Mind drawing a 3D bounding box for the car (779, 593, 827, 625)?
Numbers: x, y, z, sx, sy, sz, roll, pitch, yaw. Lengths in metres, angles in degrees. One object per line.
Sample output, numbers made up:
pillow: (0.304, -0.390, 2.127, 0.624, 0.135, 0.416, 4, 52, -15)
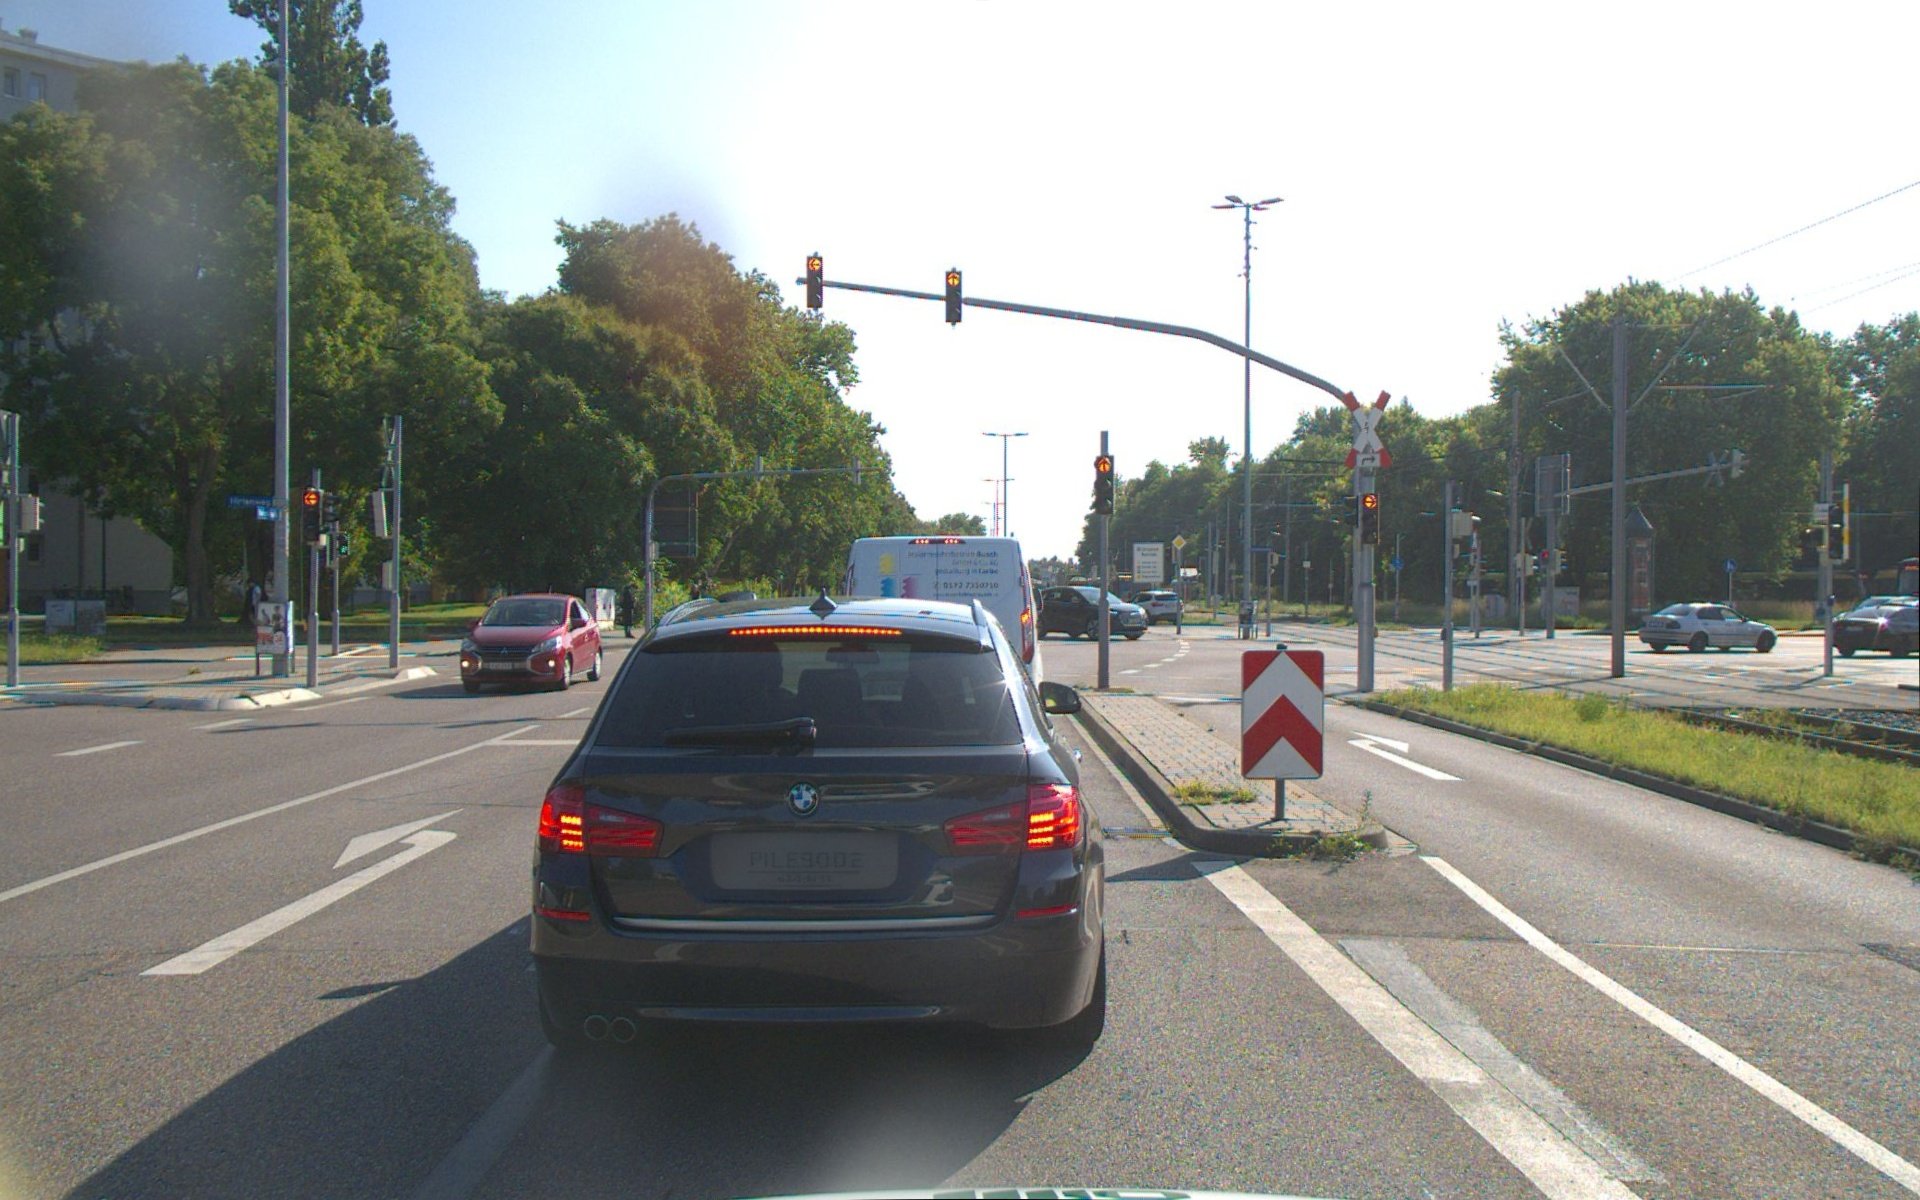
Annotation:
car: (-7.334, 0.405, 77.387, 1.742, 1.439, 4.245, 0, 0, 1)

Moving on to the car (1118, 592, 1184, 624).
car: (9.175, 0.366, 79.607, 1.765, 1.512, 3.881, 0, 0, -17)

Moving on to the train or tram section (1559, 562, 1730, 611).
train or tram section: (53.279, -1.036, 128.967, 11.984, 3.642, 3.043, 0, 0, 36)

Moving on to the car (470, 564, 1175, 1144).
car: (-0.384, 0.662, 6.422, 1.864, 1.532, 4.064, 0, 0, -1)

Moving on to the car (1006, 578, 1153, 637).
car: (3.691, 0.245, 51.617, 4.540, 1.753, 1.639, -1, -1, 42)

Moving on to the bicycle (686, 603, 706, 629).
bicycle: (-11.049, 0.666, 69.214, 0.607, 1.058, 2.070, 0, 0, -4)

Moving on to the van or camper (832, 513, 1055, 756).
van or camper: (-0.118, 0.291, 16.852, 1.952, 2.133, 4.599, 0, 0, 1)

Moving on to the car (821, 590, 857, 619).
car: (-7.225, 0.286, 99.168, 1.667, 1.491, 4.370, -1, -2, 2)

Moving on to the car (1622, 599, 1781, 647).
car: (22.232, 0.658, 49.603, 4.336, 1.377, 1.986, 0, 0, -24)

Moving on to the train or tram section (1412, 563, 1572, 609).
train or tram section: (43.517, -1.129, 135.478, 12.170, 3.642, 3.048, 0, 0, 31)

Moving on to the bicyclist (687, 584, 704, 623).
bicyclist: (-11.050, 0.146, 69.160, 0.595, 1.587, 0.602, 1, 0, -3)

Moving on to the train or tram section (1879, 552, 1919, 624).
train or tram section: (53.157, -0.611, 87.866, 11.721, 3.642, 3.015, 0, 0, -37)

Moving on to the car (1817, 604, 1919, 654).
car: (26.961, 0.808, 47.602, 4.342, 1.378, 1.982, 0, 0, -28)

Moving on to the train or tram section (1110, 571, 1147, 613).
train or tram section: (15.739, -0.684, 155.083, 2.738, 3.681, 12.960, 1, 0, 3)

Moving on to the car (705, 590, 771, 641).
car: (-7.311, 0.478, 54.757, 1.599, 1.587, 3.676, -2, 0, 1)

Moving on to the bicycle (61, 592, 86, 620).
bicycle: (-35.172, 0.253, 65.615, 0.606, 1.085, 1.892, 1, -2, -37)

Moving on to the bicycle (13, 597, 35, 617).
bicycle: (-36.607, 0.272, 64.684, 0.578, 0.721, 2.211, 0, 1, -35)

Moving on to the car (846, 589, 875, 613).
car: (-6.702, 0.048, 111.599, 1.709, 1.589, 4.000, -2, 0, 0)

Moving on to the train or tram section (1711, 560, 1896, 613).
train or tram section: (60.922, -0.951, 119.878, 3.017, 3.642, 12.087, 0, 0, -34)

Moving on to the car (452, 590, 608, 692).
car: (-6.911, 0.615, 26.923, 1.660, 1.524, 3.675, -1, 0, -2)

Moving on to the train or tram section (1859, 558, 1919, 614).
train or tram section: (63.739, -0.927, 108.478, 2.981, 3.642, 12.231, 0, 0, 0)

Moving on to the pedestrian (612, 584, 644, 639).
pedestrian: (-10.890, 0.355, 54.298, 0.798, 1.782, 0.932, 0, 0, 5)

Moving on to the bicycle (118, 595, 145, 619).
bicycle: (-33.476, 0.273, 66.803, 0.663, 0.936, 2.377, 0, 0, -35)

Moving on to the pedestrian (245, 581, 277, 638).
pedestrian: (-21.505, 0.286, 50.877, 0.610, 1.743, 0.705, 0, 0, 11)
